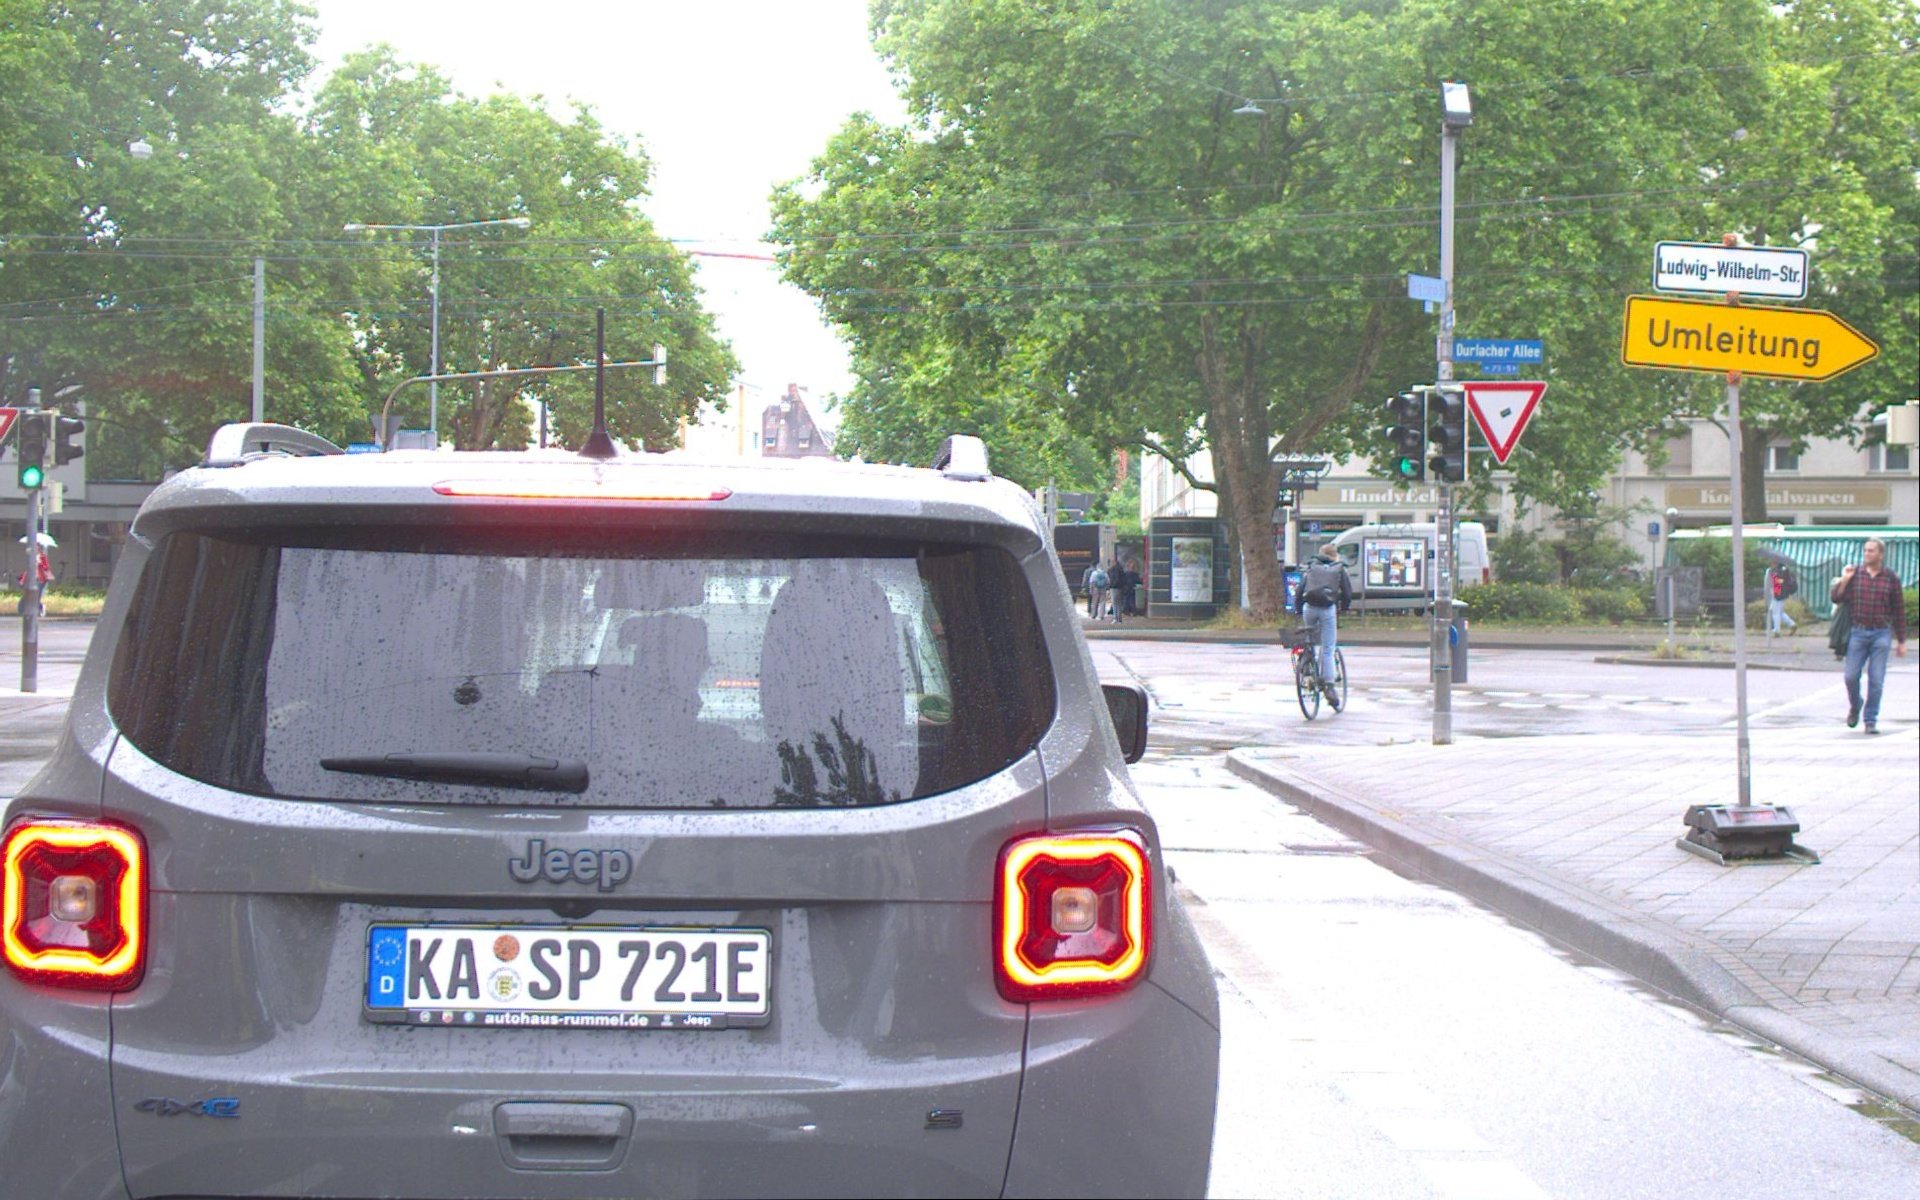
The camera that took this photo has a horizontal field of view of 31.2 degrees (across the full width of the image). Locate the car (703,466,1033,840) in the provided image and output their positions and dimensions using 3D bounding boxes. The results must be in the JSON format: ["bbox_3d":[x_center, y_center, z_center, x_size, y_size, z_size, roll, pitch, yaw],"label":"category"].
[{"bbox_3d":[-0.536,0.256,20.558,1.770,2.007,4.000,0,1,-1],"label":"car"}]

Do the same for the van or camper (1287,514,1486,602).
[{"bbox_3d":[11.721,-1.173,94.802,5.260,2.307,2.090,1,1,3],"label":"van or camper"}]

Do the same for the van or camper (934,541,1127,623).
[{"bbox_3d":[2.557,-0.664,124.767,6.535,2.902,2.491,1,1,24],"label":"van or camper"}]

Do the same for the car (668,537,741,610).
[{"bbox_3d":[-6.274,-0.667,84.273,1.721,1.733,3.730,0,1,-5],"label":"car"}]

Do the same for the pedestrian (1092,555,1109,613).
[{"bbox_3d":[4.121,-0.461,100.749,0.458,1.698,0.424,0,1,0],"label":"pedestrian"}]

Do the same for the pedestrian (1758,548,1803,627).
[{"bbox_3d":[16.336,-0.243,68.449,0.674,1.548,0.760,1,-1,27],"label":"pedestrian"}]

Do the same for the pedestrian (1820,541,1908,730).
[{"bbox_3d":[8.520,0.320,32.429,0.786,1.753,0.945,0,1,14],"label":"pedestrian"}]

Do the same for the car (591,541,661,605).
[{"bbox_3d":[-8.921,-0.727,92.069,1.813,1.665,3.921,0,1,-5],"label":"car"}]

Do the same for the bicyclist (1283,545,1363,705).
[{"bbox_3d":[3.715,0.243,35.185,0.687,1.612,0.883,0,1,14],"label":"bicyclist"}]

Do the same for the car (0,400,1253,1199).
[{"bbox_3d":[-0.582,0.570,6.175,1.775,1.681,3.848,-1,1,-2],"label":"car"}]

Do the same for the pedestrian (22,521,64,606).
[{"bbox_3d":[-19.737,-0.780,73.984,0.619,1.820,0.694,0,1,13],"label":"pedestrian"}]

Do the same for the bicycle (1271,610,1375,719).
[{"bbox_3d":[3.747,0.639,35.318,0.692,1.018,2.656,0,1,14],"label":"bicycle"}]

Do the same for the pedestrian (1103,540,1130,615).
[{"bbox_3d":[4.225,-0.608,92.605,0.651,2.007,0.482,1,1,12],"label":"pedestrian"}]
